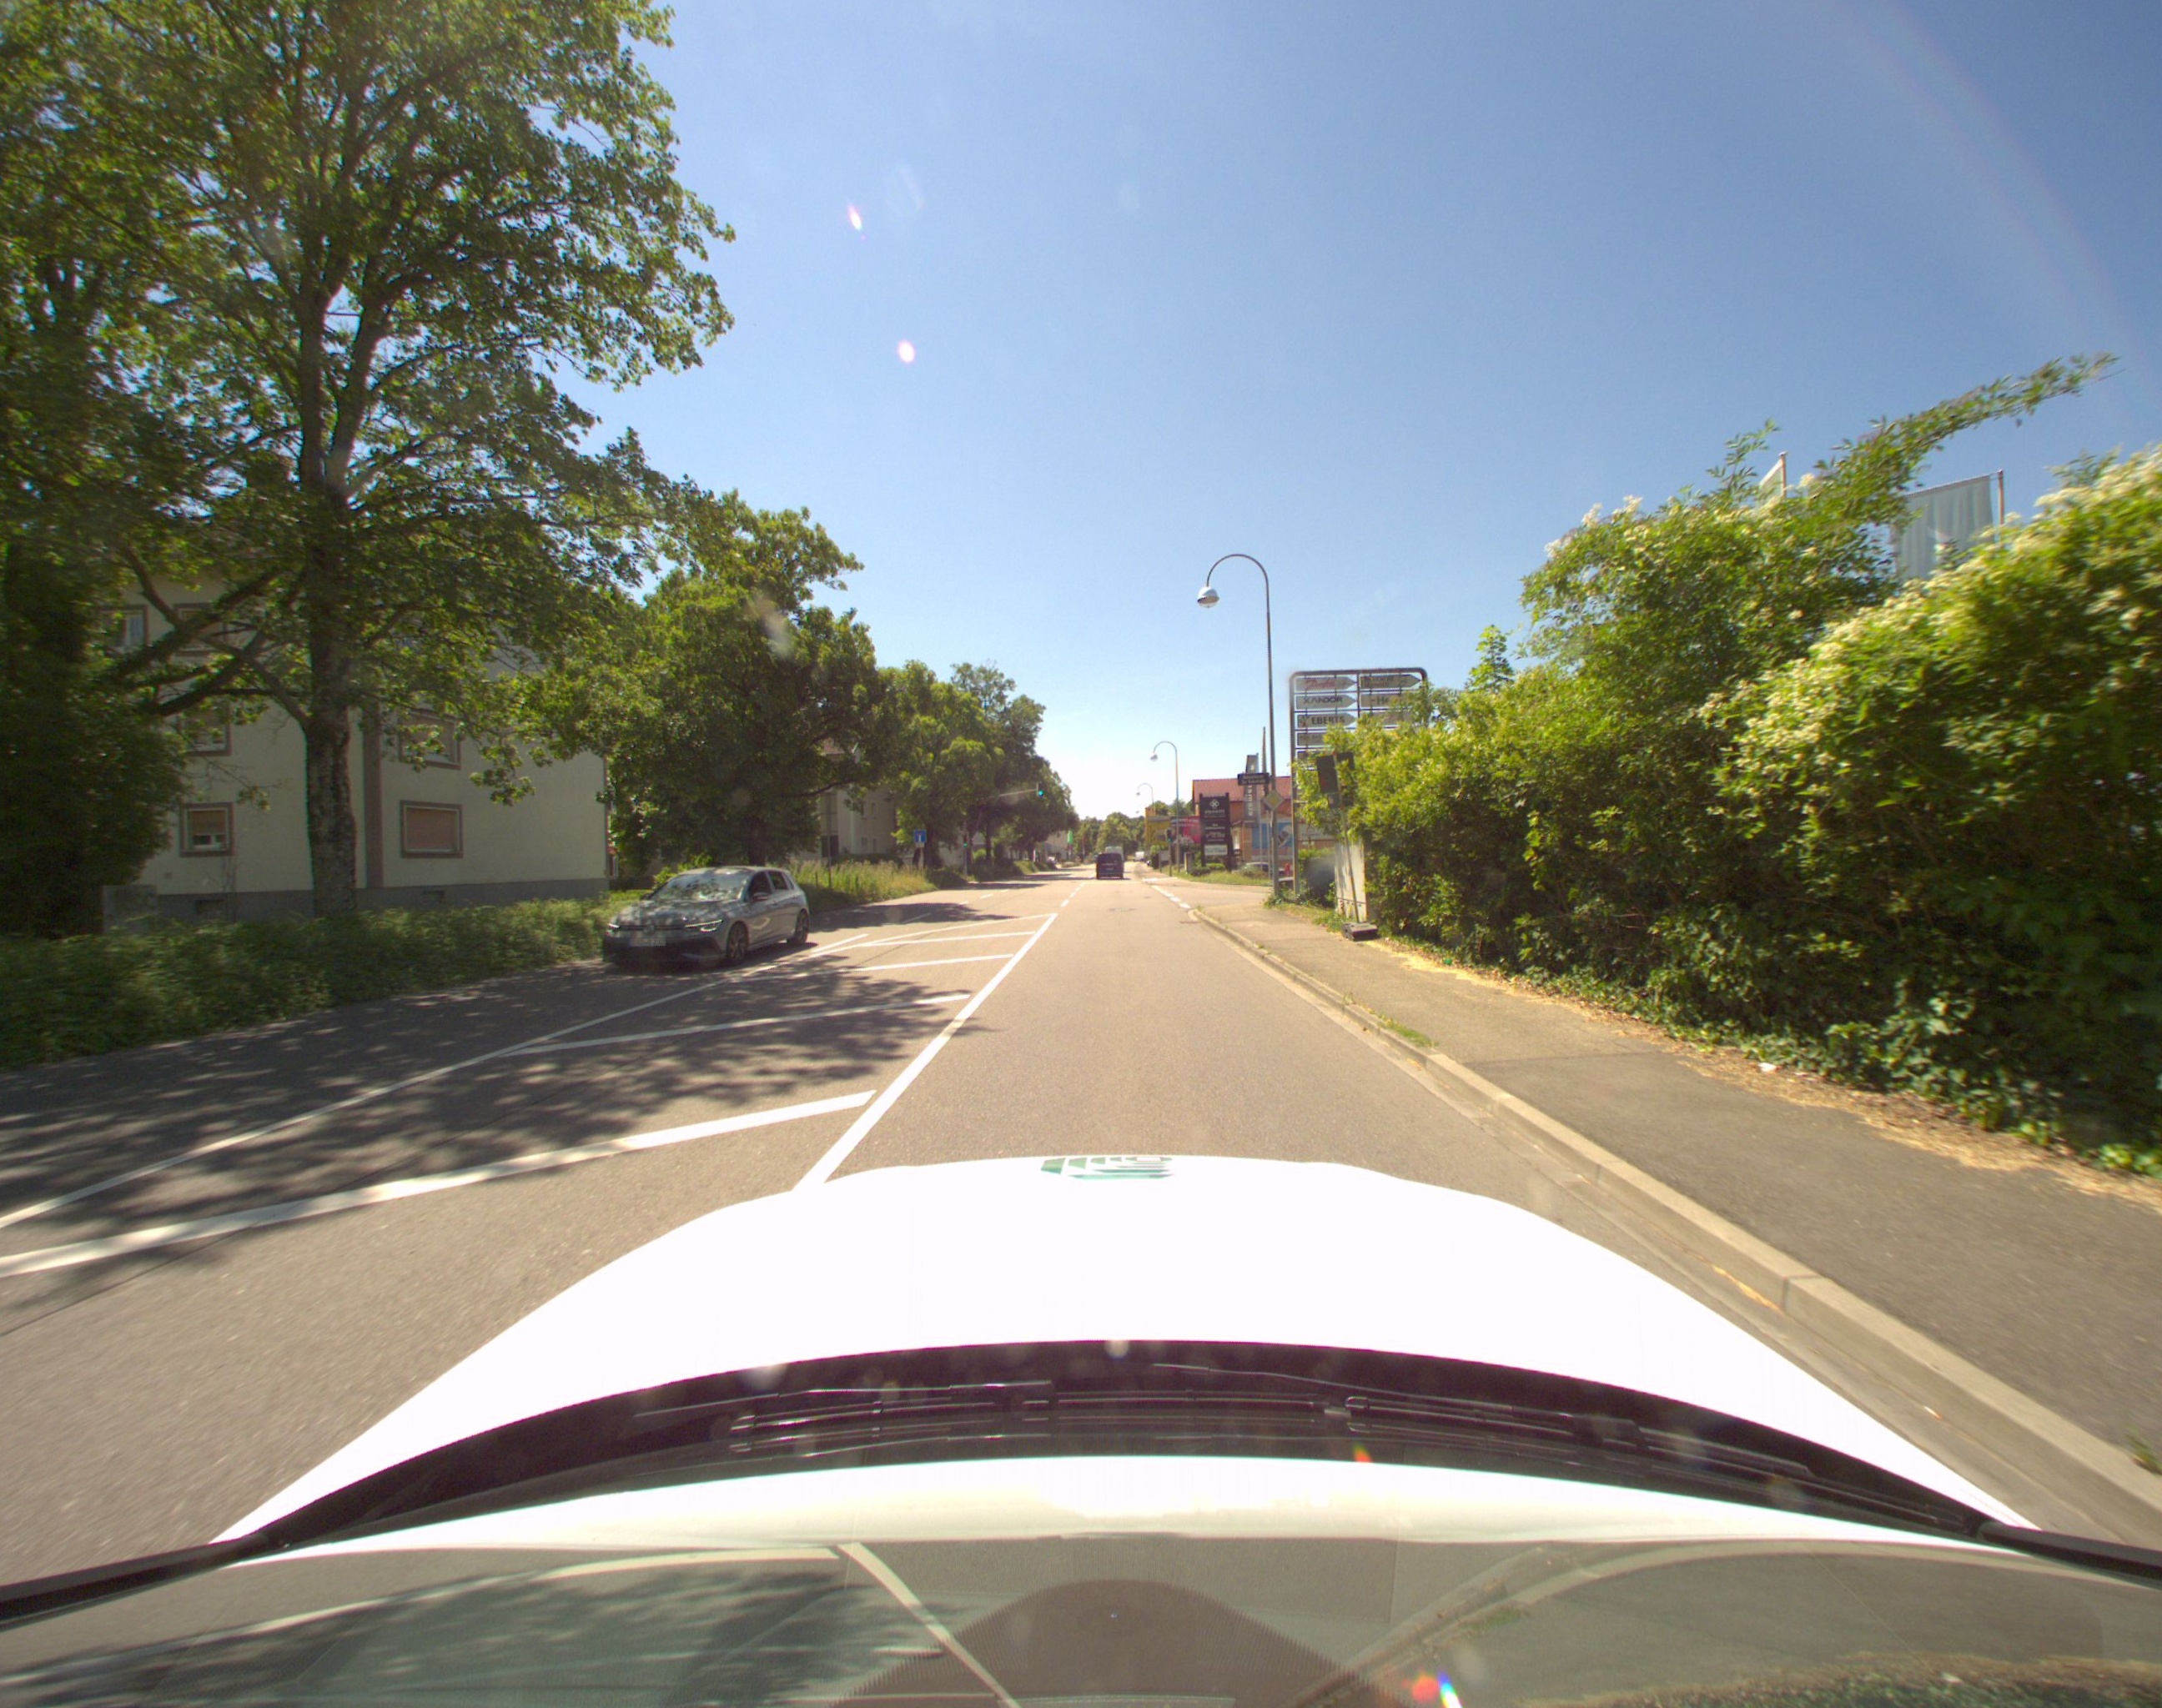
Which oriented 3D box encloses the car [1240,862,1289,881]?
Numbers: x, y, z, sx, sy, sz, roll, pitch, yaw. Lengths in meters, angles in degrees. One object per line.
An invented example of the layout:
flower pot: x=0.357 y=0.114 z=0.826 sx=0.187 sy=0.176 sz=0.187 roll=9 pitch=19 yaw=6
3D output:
car: x=16.689 y=1.557 z=74.235 sx=4.234 sy=1.599 sz=1.895 roll=-2 pitch=0 yaw=9

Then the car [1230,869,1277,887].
car: x=13.795 y=1.921 z=65.193 sx=3.601 sy=1.417 sz=1.702 roll=-1 pitch=0 yaw=8

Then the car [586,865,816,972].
car: x=-5.819 y=0.894 z=13.093 sx=1.716 sy=1.427 sz=4.147 roll=-1 pitch=-1 yaw=0

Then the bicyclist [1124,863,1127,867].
bicyclist: x=9.230 y=2.256 z=168.793 sx=0.469 sy=0.853 sz=0.554 roll=-2 pitch=2 yaw=-18

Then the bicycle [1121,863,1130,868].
bicycle: x=9.241 y=2.377 z=168.797 sx=1.720 sy=0.887 sz=0.554 roll=-2 pitch=2 yaw=-18

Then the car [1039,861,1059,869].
car: x=-6.877 y=2.375 z=175.220 sx=3.960 sy=1.662 sz=2.007 roll=-1 pitch=0 yaw=12

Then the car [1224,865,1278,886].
car: x=14.322 y=1.817 z=68.700 sx=4.253 sy=1.647 sz=1.892 roll=-1 pitch=0 yaw=4

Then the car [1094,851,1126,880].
car: x=1.983 y=0.771 z=56.229 sx=1.988 sy=1.893 sz=3.998 roll=-1 pitch=0 yaw=-1

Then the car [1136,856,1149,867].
car: x=14.766 y=1.783 z=195.652 sx=2.350 sy=2.547 sz=4.944 roll=-1 pitch=0 yaw=-7

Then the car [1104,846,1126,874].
car: x=3.530 y=0.599 z=83.431 sx=2.111 sy=2.678 sz=5.666 roll=-1 pitch=0 yaw=3
